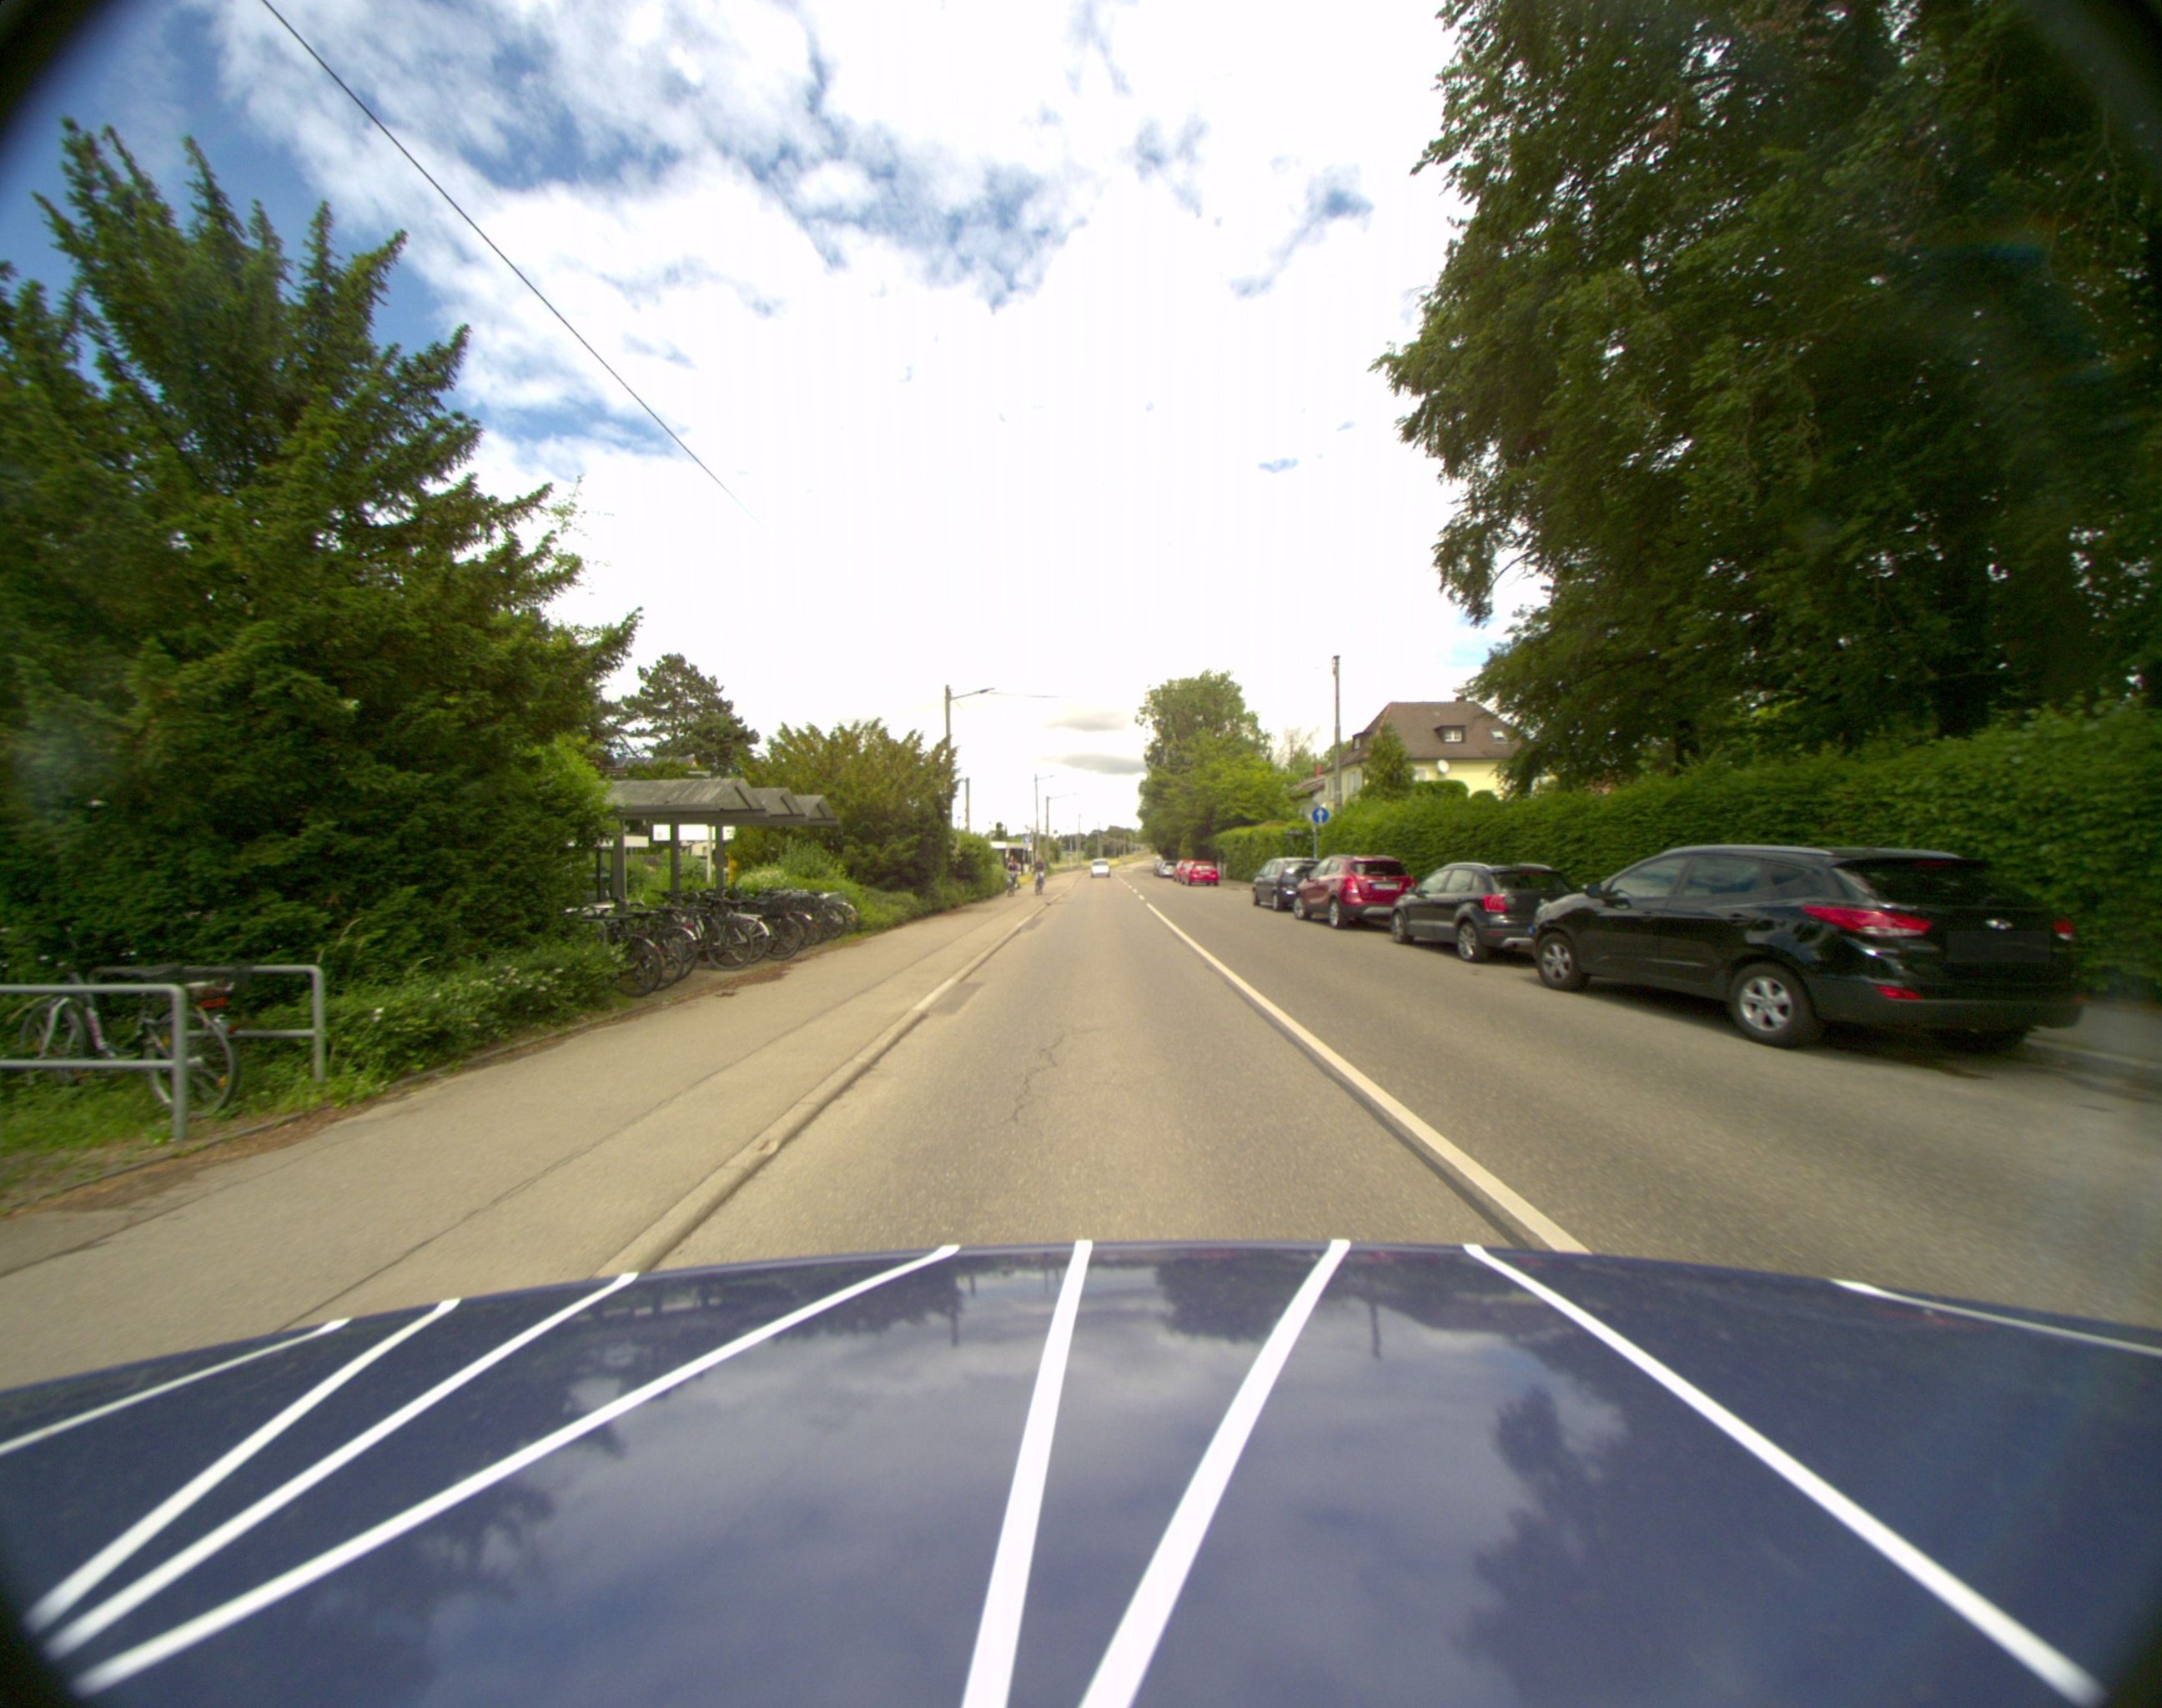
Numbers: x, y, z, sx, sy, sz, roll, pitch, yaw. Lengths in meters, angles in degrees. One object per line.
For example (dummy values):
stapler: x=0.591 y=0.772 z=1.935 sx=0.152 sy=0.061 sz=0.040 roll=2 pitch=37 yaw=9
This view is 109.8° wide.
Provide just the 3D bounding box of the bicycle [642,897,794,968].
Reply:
bicycle: x=-5.868 y=1.270 z=12.347 sx=2.206 sy=1.041 sz=0.451 roll=2 pitch=1 yaw=-2

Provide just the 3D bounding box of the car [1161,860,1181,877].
car: x=7.615 y=1.212 z=64.466 sx=1.676 sy=1.363 sz=3.608 roll=1 pitch=0 yaw=6

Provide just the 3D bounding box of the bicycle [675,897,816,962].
bicycle: x=-5.621 y=1.259 z=12.766 sx=2.205 sy=1.041 sz=0.451 roll=-1 pitch=1 yaw=6

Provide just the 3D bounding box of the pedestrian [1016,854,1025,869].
pedestrian: x=-5.017 y=0.611 z=62.940 sx=0.588 sy=1.272 sz=0.582 roll=-2 pitch=1 yaw=4

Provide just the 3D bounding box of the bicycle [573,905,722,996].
bicycle: x=-5.692 y=1.227 z=9.959 sx=2.090 sy=1.041 sz=0.451 roll=0 pitch=1 yaw=21

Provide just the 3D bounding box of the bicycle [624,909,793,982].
bicycle: x=-5.487 y=1.345 z=11.265 sx=2.206 sy=0.932 sz=0.451 roll=-2 pitch=1 yaw=-3

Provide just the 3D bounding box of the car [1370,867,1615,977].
car: x=6.508 y=0.976 z=12.644 sx=1.737 sy=1.450 sz=4.237 roll=-1 pitch=0 yaw=-1

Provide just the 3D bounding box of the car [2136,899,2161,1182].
car: x=6.295 y=0.984 z=1.767 sx=1.708 sy=1.444 sz=4.358 roll=2 pitch=0 yaw=3

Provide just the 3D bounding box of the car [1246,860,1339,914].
car: x=6.496 y=0.961 z=23.795 sx=1.761 sy=1.525 sz=4.327 roll=0 pitch=0 yaw=1

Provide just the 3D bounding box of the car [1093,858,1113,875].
car: x=1.914 y=1.115 z=68.306 sx=1.666 sy=1.394 sz=3.899 roll=-1 pitch=0 yaw=0

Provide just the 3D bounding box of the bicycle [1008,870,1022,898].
bicycle: x=-2.921 y=1.324 z=33.769 sx=0.451 sy=1.143 sz=2.207 roll=-1 pitch=0 yaw=0

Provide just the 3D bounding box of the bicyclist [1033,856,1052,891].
bicyclist: x=-1.745 y=0.881 z=34.662 sx=0.826 sy=1.529 sz=0.861 roll=-2 pitch=1 yaw=-2

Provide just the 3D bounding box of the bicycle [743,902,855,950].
bicycle: x=-5.526 y=1.412 z=14.916 sx=1.994 sy=0.821 sz=0.451 roll=-2 pitch=1 yaw=0

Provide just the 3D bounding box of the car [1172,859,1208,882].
car: x=7.408 y=1.083 z=51.801 sx=1.853 sy=1.442 sz=3.748 roll=-1 pitch=0 yaw=0

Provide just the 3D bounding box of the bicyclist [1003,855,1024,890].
bicyclist: x=-2.981 y=0.822 z=33.735 sx=0.826 sy=1.529 sz=0.862 roll=-1 pitch=0 yaw=-1

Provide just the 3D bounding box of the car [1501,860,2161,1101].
car: x=6.410 y=0.878 z=7.490 sx=1.901 sy=1.584 sz=4.643 roll=-1 pitch=0 yaw=-1

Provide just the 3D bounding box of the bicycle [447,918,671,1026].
bicycle: x=-5.784 y=1.294 z=8.473 sx=2.094 sy=1.041 sz=0.450 roll=-2 pitch=1 yaw=-2

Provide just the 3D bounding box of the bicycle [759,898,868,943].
bicycle: x=-5.473 y=1.359 z=15.558 sx=2.081 sy=0.821 sz=0.451 roll=-2 pitch=1 yaw=6

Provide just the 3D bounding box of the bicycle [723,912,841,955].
bicycle: x=-5.501 y=1.461 z=14.056 sx=1.988 sy=0.635 sz=0.332 roll=-2 pitch=1 yaw=-11

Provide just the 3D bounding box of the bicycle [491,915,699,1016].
bicycle: x=-5.733 y=1.306 z=9.029 sx=2.094 sy=1.041 sz=0.450 roll=-2 pitch=1 yaw=-2

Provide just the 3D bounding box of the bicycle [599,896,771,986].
bicycle: x=-5.562 y=1.217 z=10.745 sx=2.094 sy=1.144 sz=0.530 roll=-1 pitch=1 yaw=-2

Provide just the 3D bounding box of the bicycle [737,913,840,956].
bicycle: x=-5.287 y=1.454 z=13.787 sx=1.682 sy=0.635 sz=0.332 roll=-2 pitch=1 yaw=-11

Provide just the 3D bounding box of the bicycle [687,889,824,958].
bicycle: x=-5.642 y=1.201 z=13.191 sx=2.205 sy=1.143 sz=0.451 roll=-1 pitch=1 yaw=6

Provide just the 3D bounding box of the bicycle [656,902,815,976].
bicycle: x=-5.321 y=1.296 z=11.747 sx=2.206 sy=1.041 sz=0.451 roll=-1 pitch=1 yaw=-2

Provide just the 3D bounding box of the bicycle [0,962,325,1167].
bicycle: x=-5.975 y=1.276 z=4.670 sx=2.093 sy=1.041 sz=0.559 roll=-3 pitch=1 yaw=3

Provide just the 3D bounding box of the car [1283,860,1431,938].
car: x=6.397 y=0.964 z=18.174 sx=1.795 sy=1.601 sz=4.416 roll=-1 pitch=0 yaw=-2

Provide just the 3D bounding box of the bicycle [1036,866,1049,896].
bicycle: x=-1.764 y=1.218 z=34.639 sx=0.451 sy=1.278 sz=2.207 roll=-2 pitch=0 yaw=-4

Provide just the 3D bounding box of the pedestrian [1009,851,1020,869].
pedestrian: x=-5.308 y=0.480 z=61.017 sx=0.720 sy=1.412 sz=0.643 roll=-2 pitch=1 yaw=4

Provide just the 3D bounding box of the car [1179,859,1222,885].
car: x=7.045 y=1.043 z=45.094 sx=1.971 sy=1.394 sz=4.066 roll=-1 pitch=0 yaw=1
